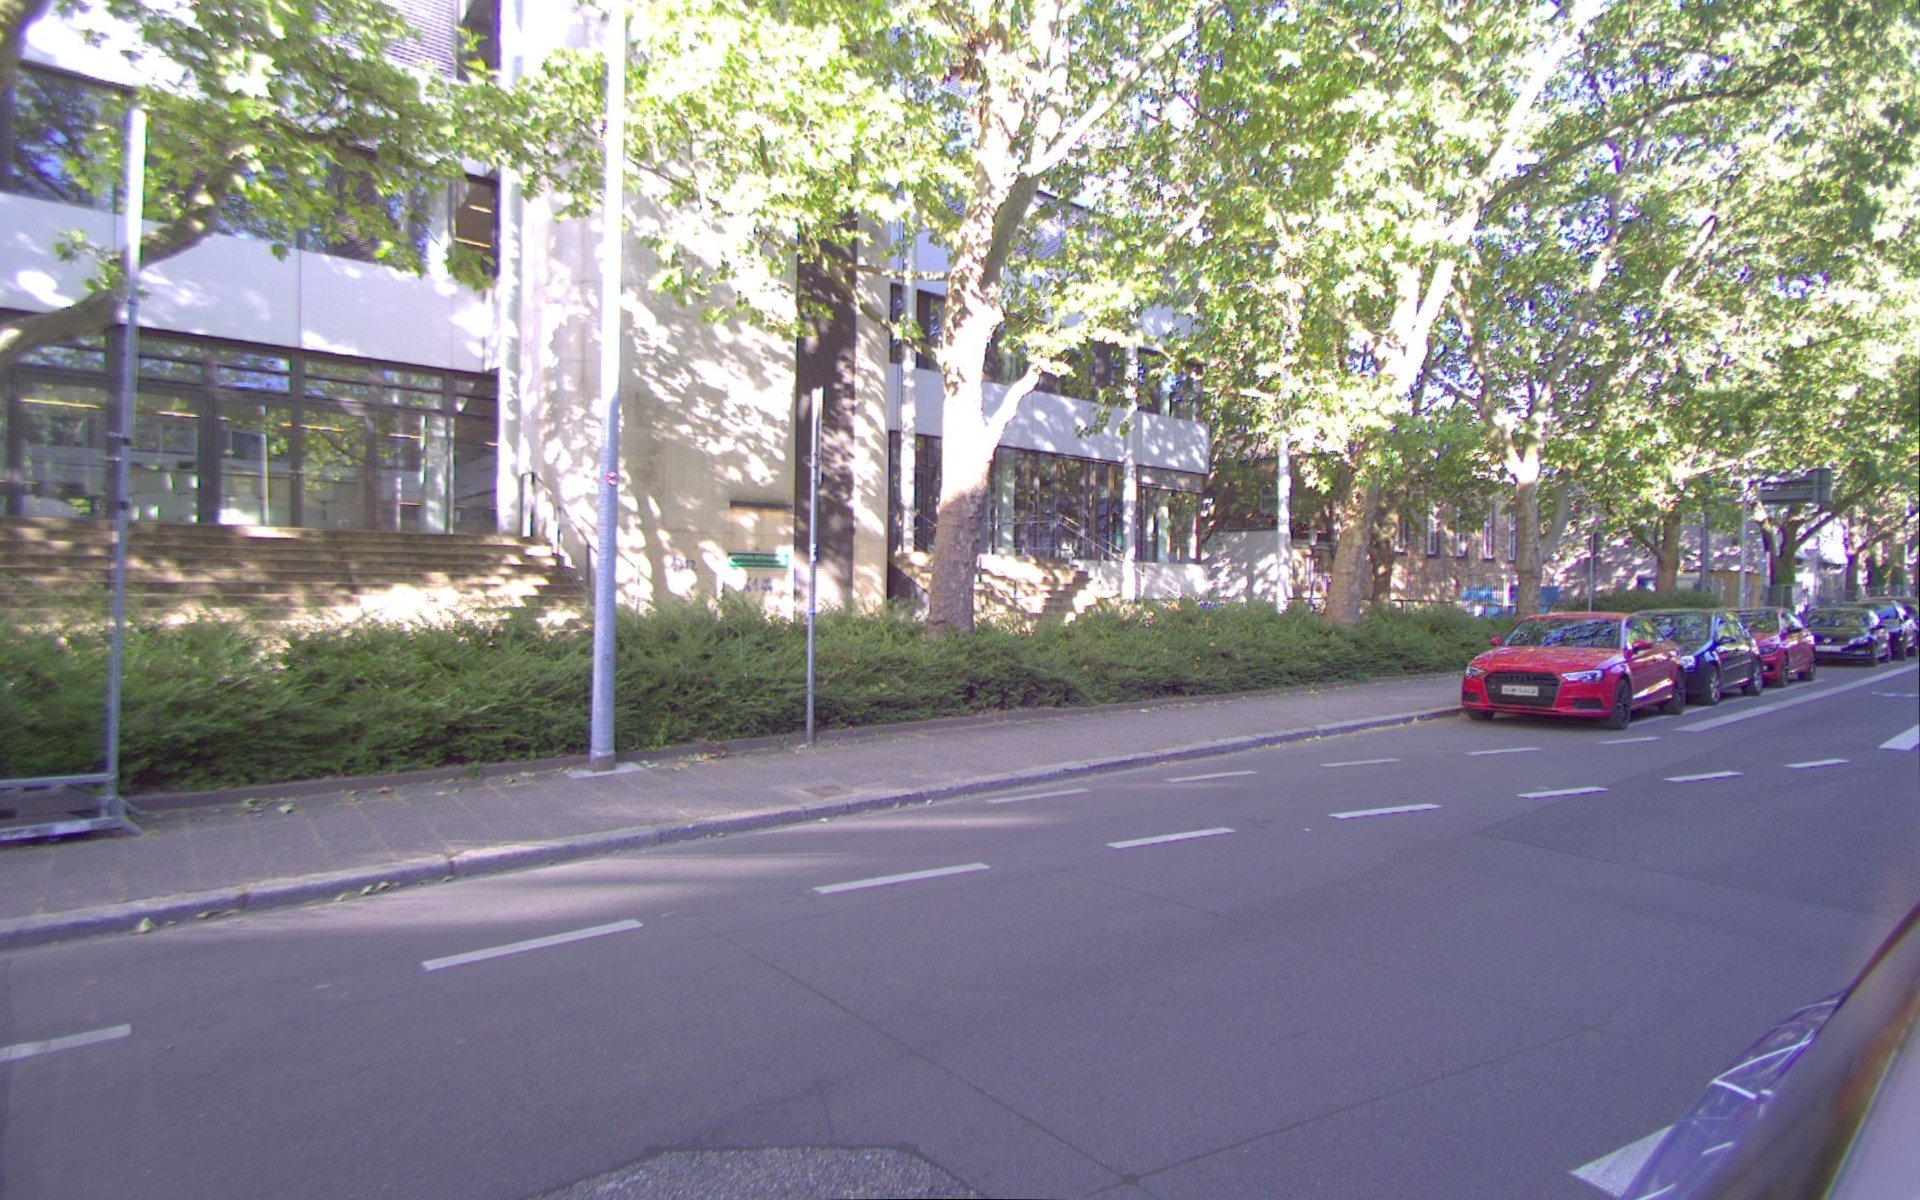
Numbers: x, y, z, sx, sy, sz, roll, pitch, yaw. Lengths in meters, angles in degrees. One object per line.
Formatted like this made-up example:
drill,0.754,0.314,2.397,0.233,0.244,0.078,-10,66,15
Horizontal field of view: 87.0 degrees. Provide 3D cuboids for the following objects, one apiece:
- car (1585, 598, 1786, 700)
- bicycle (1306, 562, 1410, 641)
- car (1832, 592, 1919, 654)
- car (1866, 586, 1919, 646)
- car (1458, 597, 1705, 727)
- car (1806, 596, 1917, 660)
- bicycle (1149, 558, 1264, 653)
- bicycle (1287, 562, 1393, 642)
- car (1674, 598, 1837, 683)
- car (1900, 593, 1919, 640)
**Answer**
car,11.983,0.723,16.633,3.992,1.485,1.696,0,-1,-39
bicycle,10.766,0.020,27.470,0.729,2.039,2.603,0,1,-40
car,26.770,0.621,29.247,4.541,1.648,1.778,0,-1,-42
car,31.045,0.509,33.217,1.823,1.865,4.826,-2,-1,41
car,8.475,0.719,13.631,4.360,1.468,1.694,0,-1,-43
car,23.115,0.678,25.905,3.952,1.523,1.694,0,-1,-43
bicycle,5.525,0.091,22.860,0.729,2.039,2.603,0,1,-40
bicycle,10.052,0.030,26.899,0.729,2.039,2.603,0,1,-40
car,15.772,0.730,19.983,4.242,1.498,1.696,0,-1,-40
car,36.084,0.582,37.321,4.256,1.648,1.694,0,-1,-43
